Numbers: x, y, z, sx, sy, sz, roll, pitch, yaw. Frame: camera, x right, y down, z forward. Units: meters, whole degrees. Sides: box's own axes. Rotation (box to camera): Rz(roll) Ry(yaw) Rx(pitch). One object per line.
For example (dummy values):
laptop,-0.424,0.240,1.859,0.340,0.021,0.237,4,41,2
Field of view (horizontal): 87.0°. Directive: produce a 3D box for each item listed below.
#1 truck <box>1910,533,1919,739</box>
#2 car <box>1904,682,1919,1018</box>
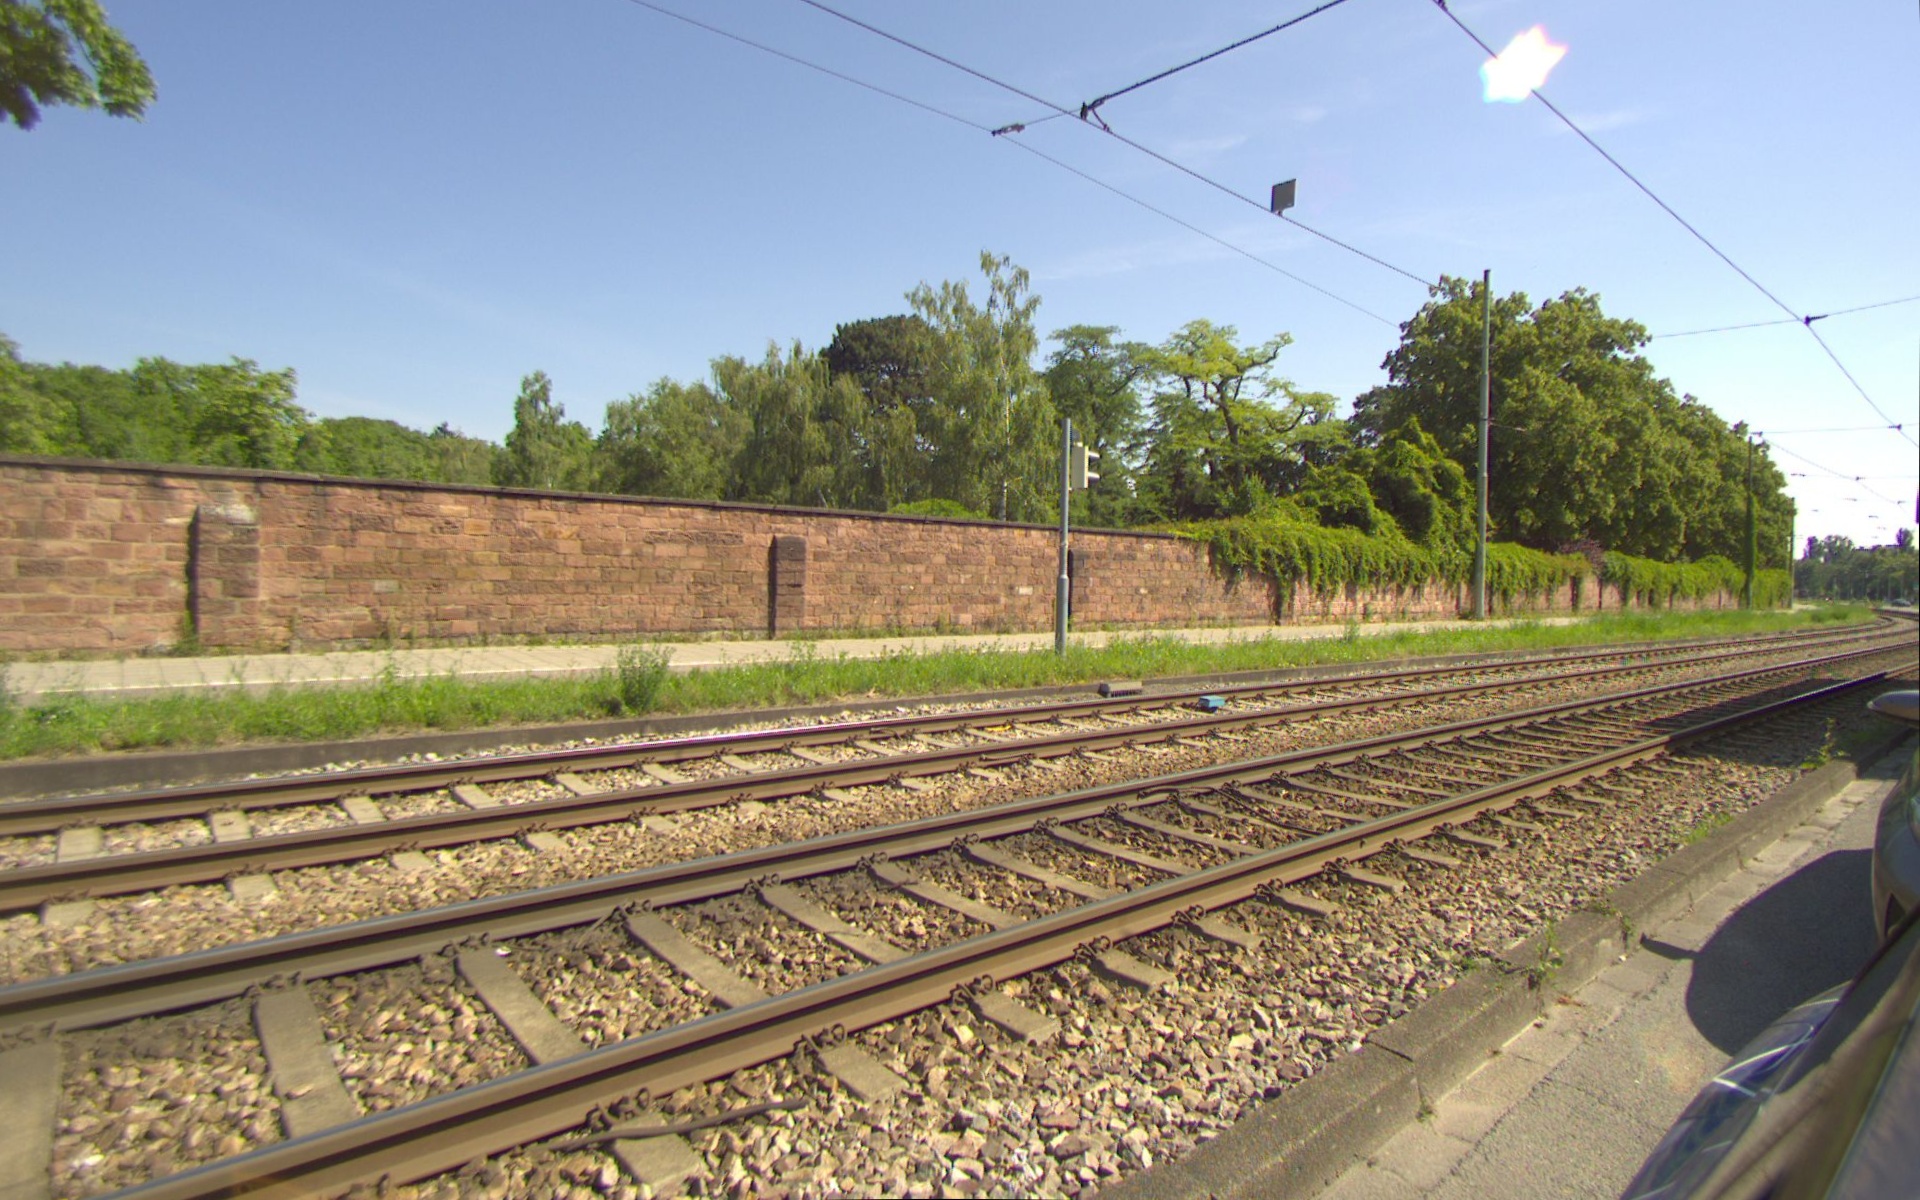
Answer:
truck,15.136,-0.656,12.818,14.652,3.927,2.934,0,2,-41
car,5.105,0.668,3.993,3.930,1.448,1.573,0,2,-41
